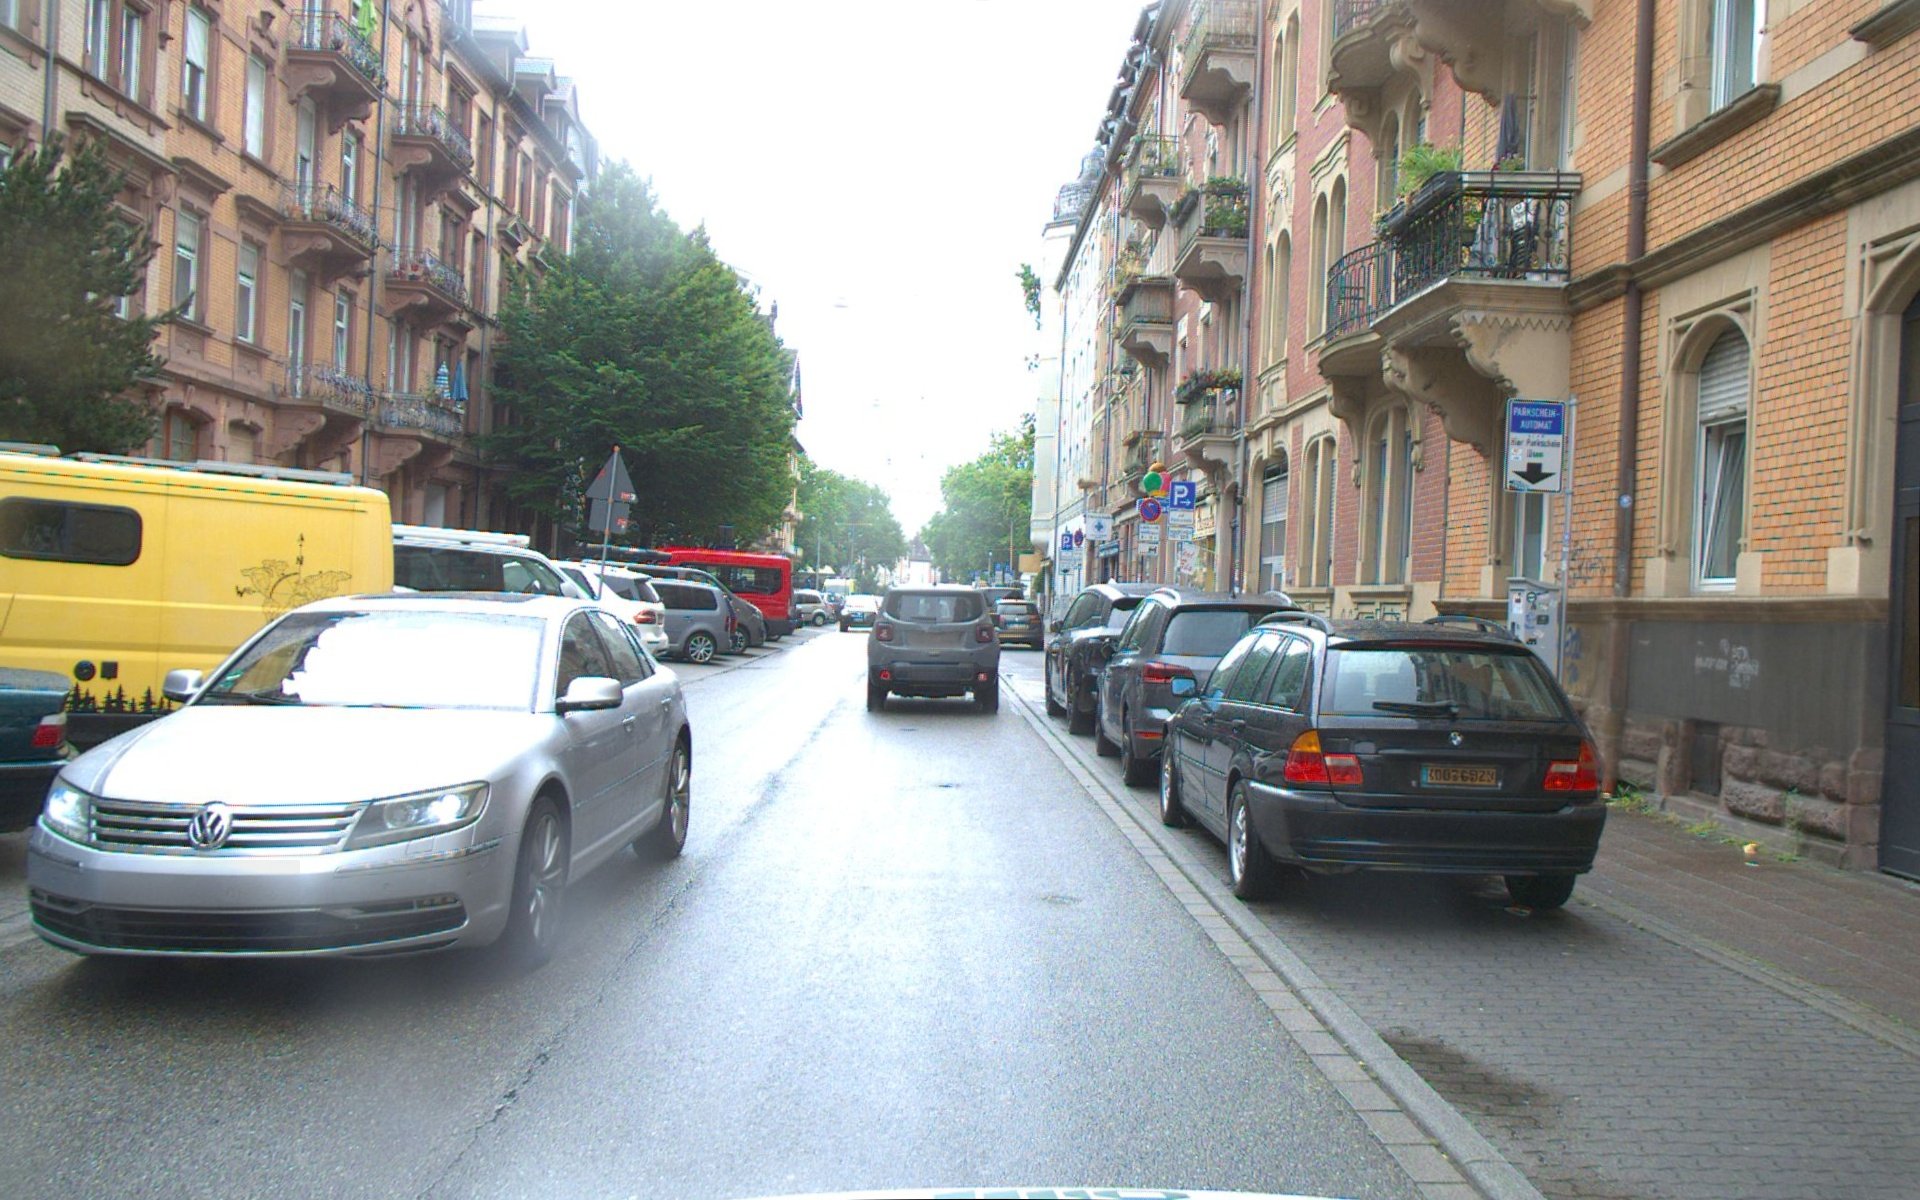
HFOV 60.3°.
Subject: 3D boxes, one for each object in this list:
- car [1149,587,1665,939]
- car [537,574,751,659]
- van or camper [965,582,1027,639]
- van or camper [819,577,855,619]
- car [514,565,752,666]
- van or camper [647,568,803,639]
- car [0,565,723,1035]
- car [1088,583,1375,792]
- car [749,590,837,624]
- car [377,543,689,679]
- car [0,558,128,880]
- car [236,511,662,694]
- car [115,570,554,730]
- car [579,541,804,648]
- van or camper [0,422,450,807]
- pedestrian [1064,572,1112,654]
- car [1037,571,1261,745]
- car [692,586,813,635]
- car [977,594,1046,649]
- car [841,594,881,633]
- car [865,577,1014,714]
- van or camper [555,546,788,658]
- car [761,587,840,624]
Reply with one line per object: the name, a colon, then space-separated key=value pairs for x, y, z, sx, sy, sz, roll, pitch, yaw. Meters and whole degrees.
car: x=2.282 y=0.722 z=9.737 sx=1.750 sy=1.492 sz=4.483 roll=2 pitch=1 yaw=-1
car: x=-6.959 y=0.366 z=36.438 sx=4.286 sy=1.530 sz=1.742 roll=4 pitch=0 yaw=-24
van or camper: x=1.250 y=0.351 z=59.615 sx=1.980 sy=1.924 sz=5.053 roll=1 pitch=0 yaw=-2
van or camper: x=-8.307 y=-0.077 z=112.081 sx=2.078 sy=2.575 sz=6.871 roll=-2 pitch=-2 yaw=-2
car: x=-6.709 y=0.328 z=33.994 sx=4.380 sy=1.658 sz=1.828 roll=5 pitch=0 yaw=-28
van or camper: x=-7.221 y=0.115 z=50.933 sx=4.396 sy=2.010 sz=1.760 roll=3 pitch=0 yaw=-35
car: x=-2.395 y=0.642 z=7.803 sx=1.758 sy=1.520 sz=4.584 roll=2 pitch=1 yaw=1
car: x=2.269 y=0.675 z=14.965 sx=1.833 sy=1.589 sz=4.344 roll=1 pitch=0 yaw=-1
car: x=-7.612 y=0.319 z=75.428 sx=3.674 sy=1.477 sz=1.664 roll=1 pitch=0 yaw=-37
car: x=-7.033 y=0.178 z=27.759 sx=4.487 sy=1.816 sz=2.544 roll=5 pitch=0 yaw=-2
car: x=-6.211 y=0.546 z=7.781 sx=3.951 sy=1.521 sz=1.806 roll=0 pitch=1 yaw=-34
car: x=-6.795 y=0.089 z=22.129 sx=5.171 sy=2.115 sz=1.855 roll=3 pitch=-1 yaw=-26
car: x=-6.379 y=0.525 z=16.953 sx=3.945 sy=1.461 sz=1.767 roll=3 pitch=-1 yaw=-30
car: x=-7.229 y=-0.129 z=44.684 sx=5.494 sy=2.585 sz=2.208 roll=3 pitch=0 yaw=-29
van or camper: x=-6.115 y=0.057 z=11.013 sx=4.670 sy=2.307 sz=2.160 roll=5 pitch=0 yaw=-34
pedestrian: x=3.362 y=0.337 z=43.459 sx=0.667 sy=1.966 sz=0.808 roll=0 pitch=-18 yaw=34
car: x=2.132 y=0.627 z=20.090 sx=1.953 sy=1.810 sz=4.824 roll=2 pitch=0 yaw=-2
car: x=-7.327 y=0.383 z=58.631 sx=3.944 sy=1.472 sz=1.741 roll=4 pitch=0 yaw=-42
car: x=1.519 y=0.632 z=50.181 sx=1.804 sy=1.572 sz=4.001 roll=2 pitch=0 yaw=-2
car: x=-4.274 y=0.574 z=71.264 sx=1.636 sy=1.586 sz=4.000 roll=2 pitch=0 yaw=-4
car: x=-0.349 y=0.588 z=23.366 sx=1.860 sy=1.700 sz=4.503 roll=2 pitch=0 yaw=-2
van or camper: x=-6.867 y=0.054 z=39.415 sx=4.951 sy=2.390 sz=2.324 roll=3 pitch=0 yaw=-28
car: x=-7.533 y=0.266 z=78.311 sx=3.346 sy=1.683 sz=1.614 roll=1 pitch=0 yaw=-34
